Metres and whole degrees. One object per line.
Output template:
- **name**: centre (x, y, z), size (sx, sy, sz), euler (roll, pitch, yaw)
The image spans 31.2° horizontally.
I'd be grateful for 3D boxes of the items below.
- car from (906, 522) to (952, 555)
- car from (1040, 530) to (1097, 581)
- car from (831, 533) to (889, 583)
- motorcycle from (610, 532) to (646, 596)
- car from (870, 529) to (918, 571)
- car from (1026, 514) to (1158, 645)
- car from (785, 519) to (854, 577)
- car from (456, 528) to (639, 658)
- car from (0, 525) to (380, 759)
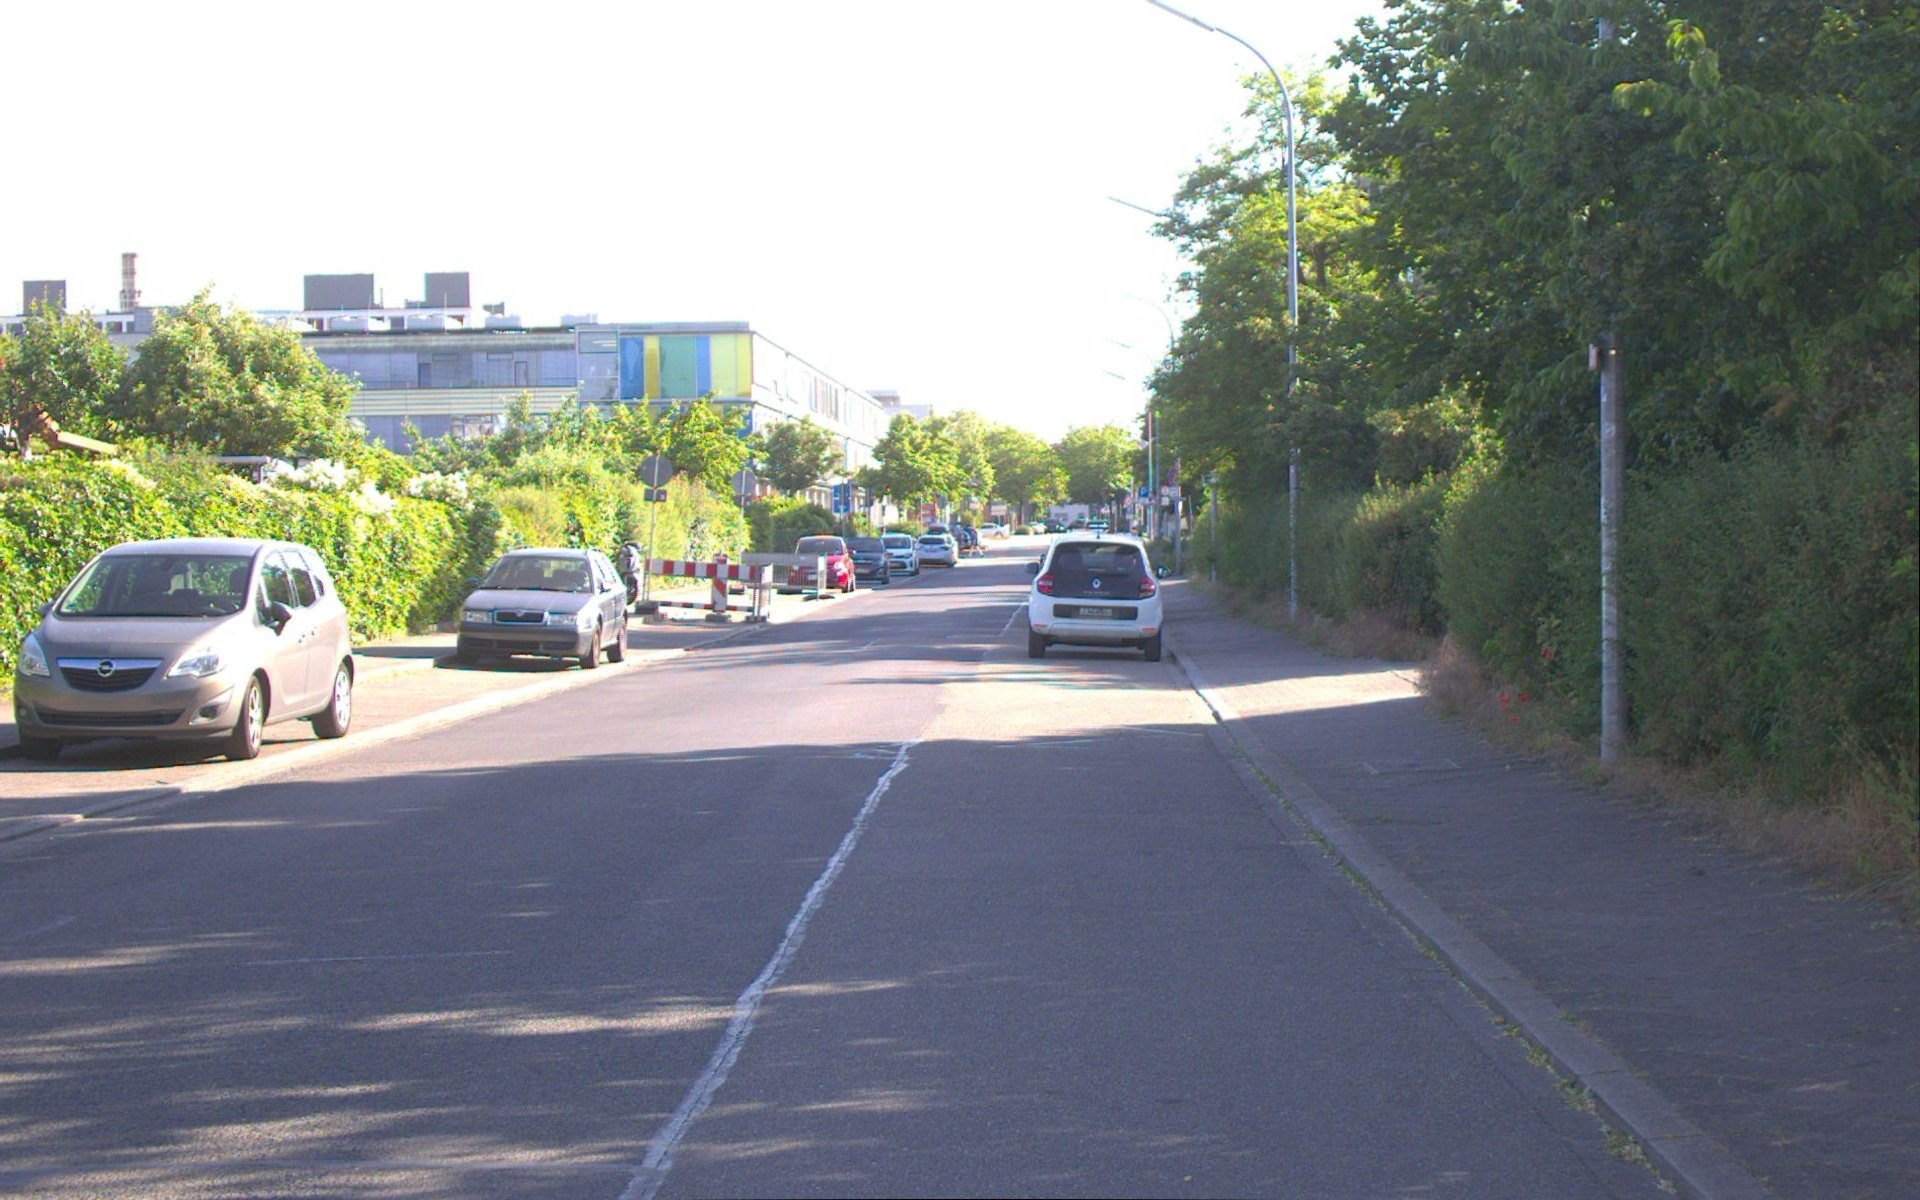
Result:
- **car**: centre (-1.372, -2.787, 154.968), size (1.854, 1.423, 4.134), euler (2, 1, 2)
- **car**: centre (3.392, -1.389, 106.835), size (1.623, 1.521, 3.901), euler (2, 1, 3)
- **car**: centre (-3.136, -1.338, 108.690), size (1.560, 1.489, 3.570), euler (2, 1, 2)
- **motorcycle**: centre (-6.721, -0.718, 69.613), size (0.566, 1.264, 2.091), euler (1, 0, -2)
- **car**: centre (-2.393, -1.824, 125.714), size (1.559, 1.489, 3.758), euler (-1, 1, 2)
- **car**: centre (1.670, -0.280, 43.579), size (1.556, 1.533, 3.555), euler (2, 1, 2)
- **car**: centre (-3.674, -1.378, 90.359), size (1.559, 1.489, 3.570), euler (-1, 1, 2)
- **car**: centre (-5.179, -0.125, 43.663), size (1.643, 1.551, 4.417), euler (-1, 1, 2)
- **car**: centre (-5.746, 0.252, 26.138), size (1.644, 1.594, 4.311), euler (1, 1, 4)
